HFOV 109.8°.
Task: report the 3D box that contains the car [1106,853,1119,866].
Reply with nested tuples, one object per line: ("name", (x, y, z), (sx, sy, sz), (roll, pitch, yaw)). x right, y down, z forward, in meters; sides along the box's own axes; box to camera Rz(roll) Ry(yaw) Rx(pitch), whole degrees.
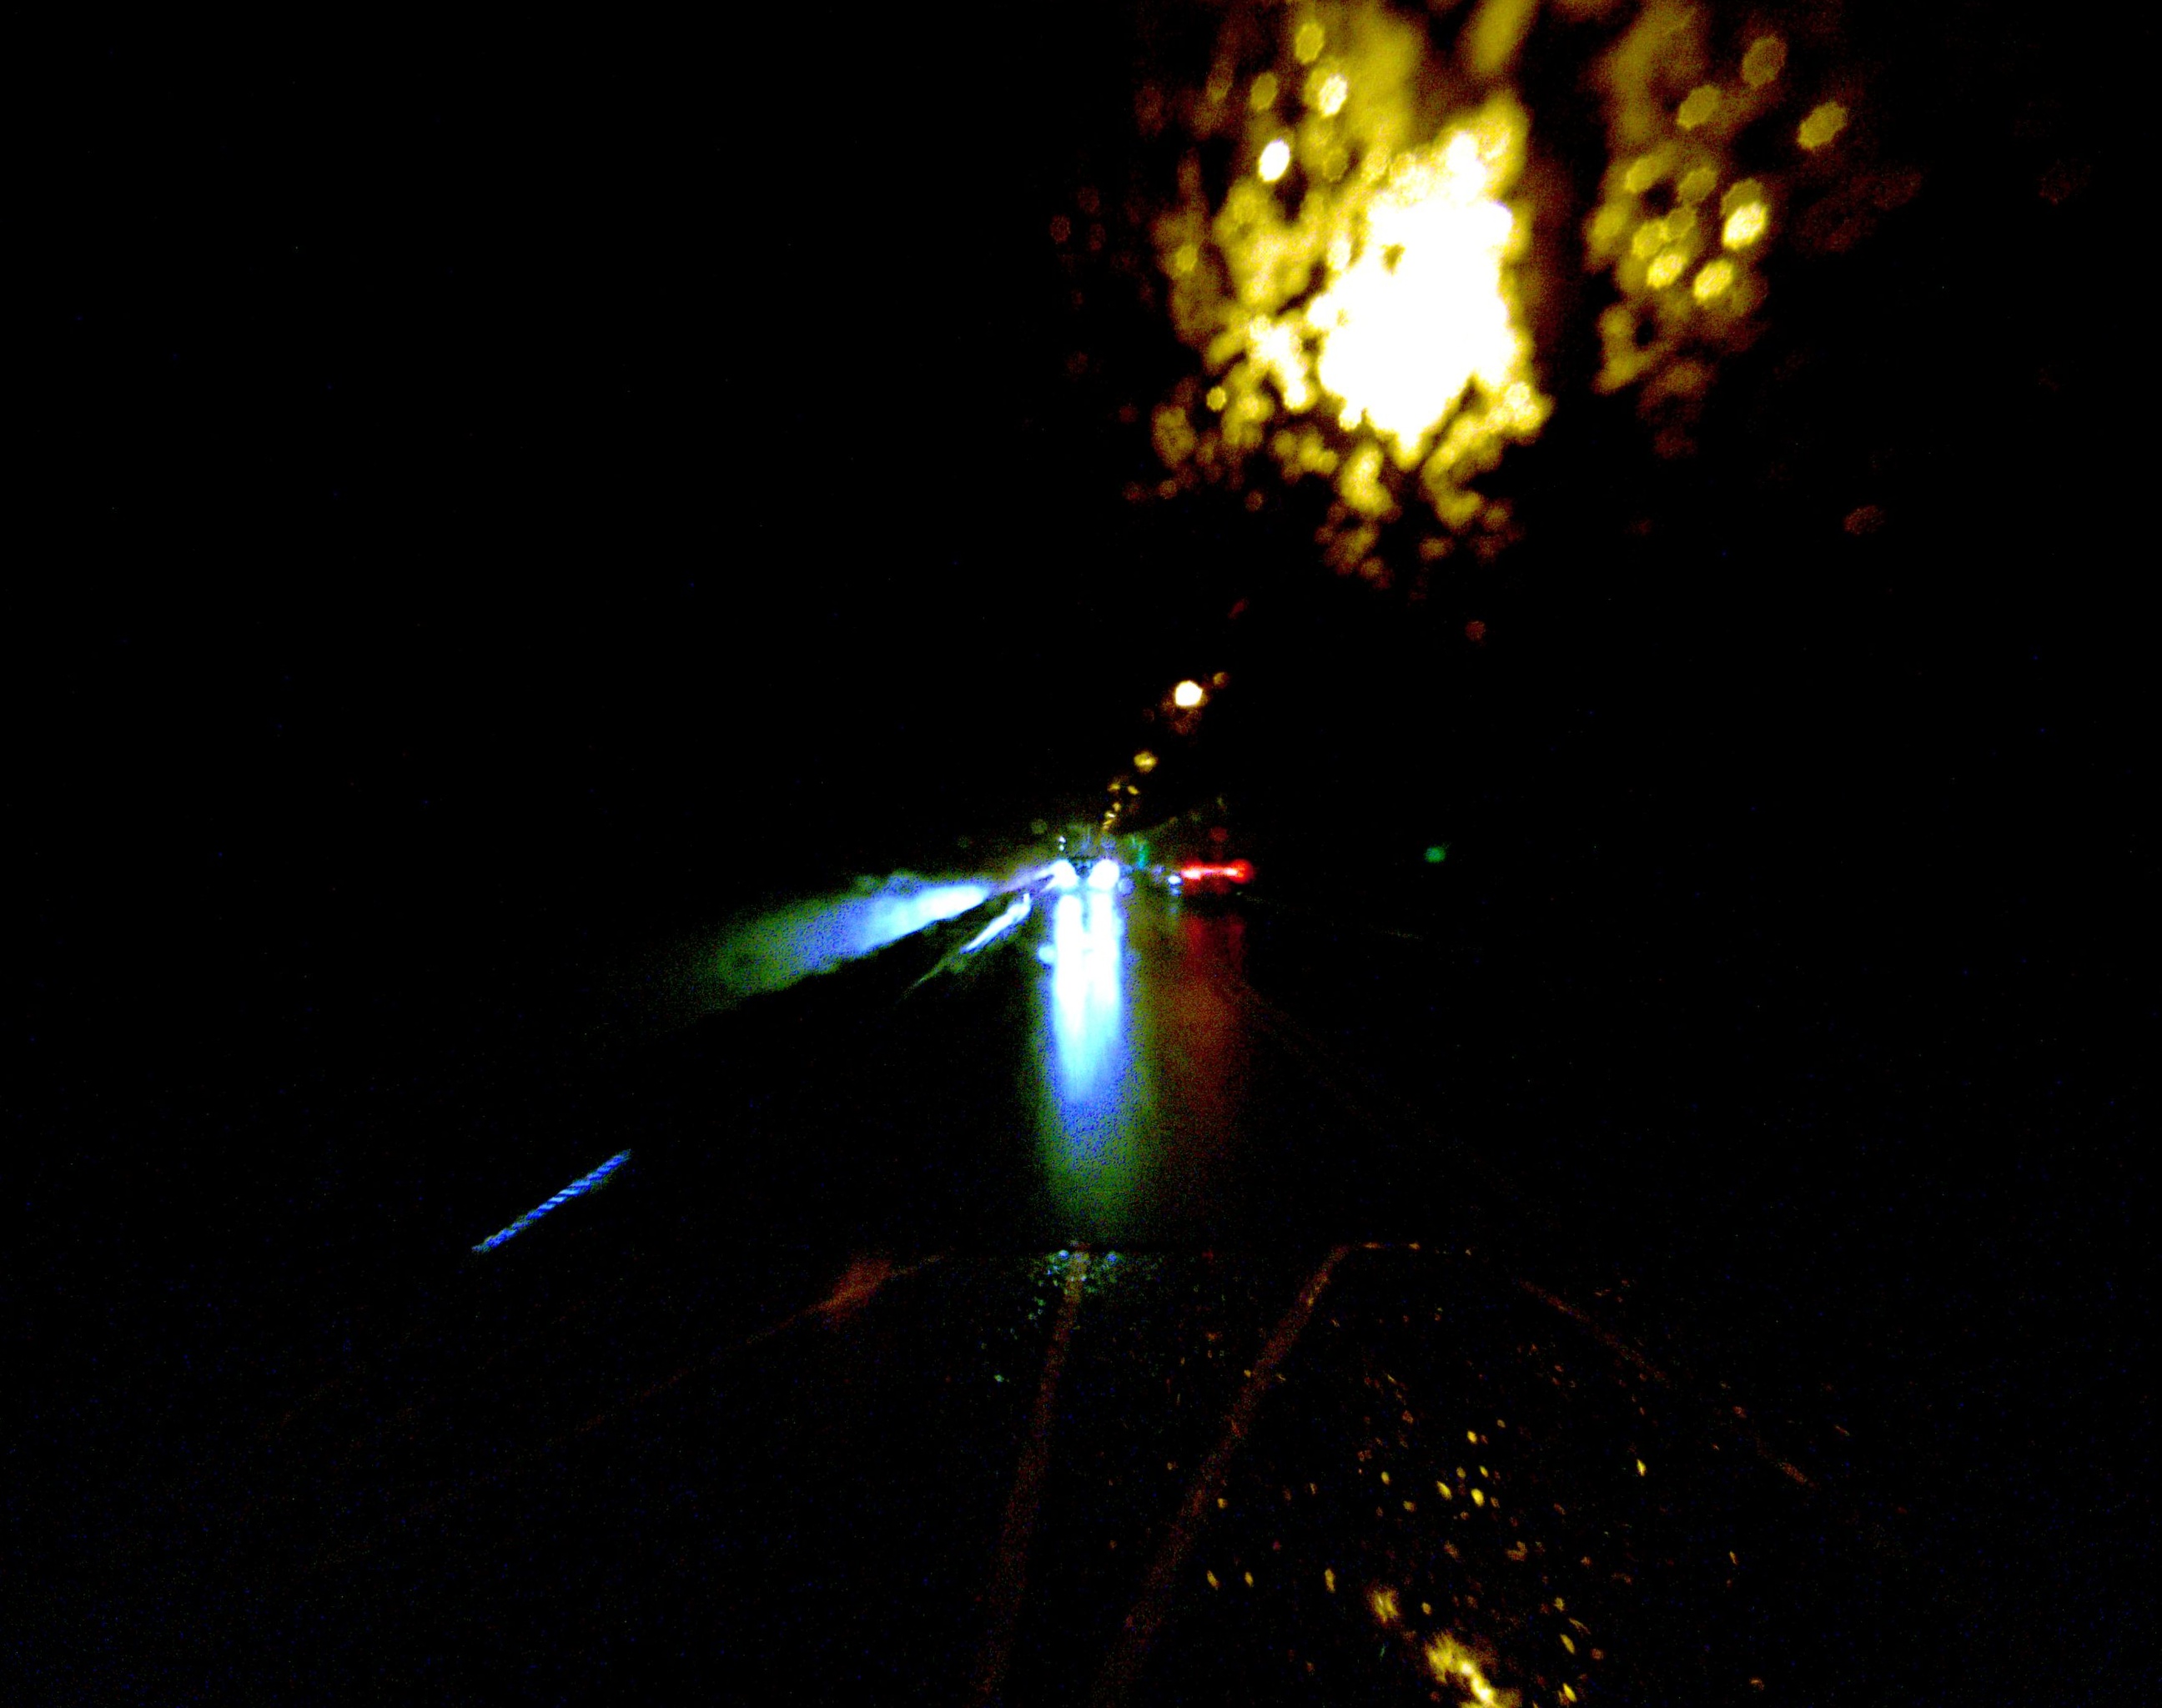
("car", (4.140, 0.712, 99.934), (1.602, 1.604, 3.996), (-2, 0, 1))

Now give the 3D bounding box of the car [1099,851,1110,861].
("car", (5.069, 0.366, 164.516), (2.090, 2.002, 4.560), (-2, 0, 1))

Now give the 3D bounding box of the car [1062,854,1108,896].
("car", (0.189, 0.868, 32.902), (1.829, 1.650, 3.929), (-1, 0, 1))

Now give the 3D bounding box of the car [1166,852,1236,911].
("car", (3.551, 0.758, 23.011), (1.573, 1.622, 3.729), (-1, 0, 1))
